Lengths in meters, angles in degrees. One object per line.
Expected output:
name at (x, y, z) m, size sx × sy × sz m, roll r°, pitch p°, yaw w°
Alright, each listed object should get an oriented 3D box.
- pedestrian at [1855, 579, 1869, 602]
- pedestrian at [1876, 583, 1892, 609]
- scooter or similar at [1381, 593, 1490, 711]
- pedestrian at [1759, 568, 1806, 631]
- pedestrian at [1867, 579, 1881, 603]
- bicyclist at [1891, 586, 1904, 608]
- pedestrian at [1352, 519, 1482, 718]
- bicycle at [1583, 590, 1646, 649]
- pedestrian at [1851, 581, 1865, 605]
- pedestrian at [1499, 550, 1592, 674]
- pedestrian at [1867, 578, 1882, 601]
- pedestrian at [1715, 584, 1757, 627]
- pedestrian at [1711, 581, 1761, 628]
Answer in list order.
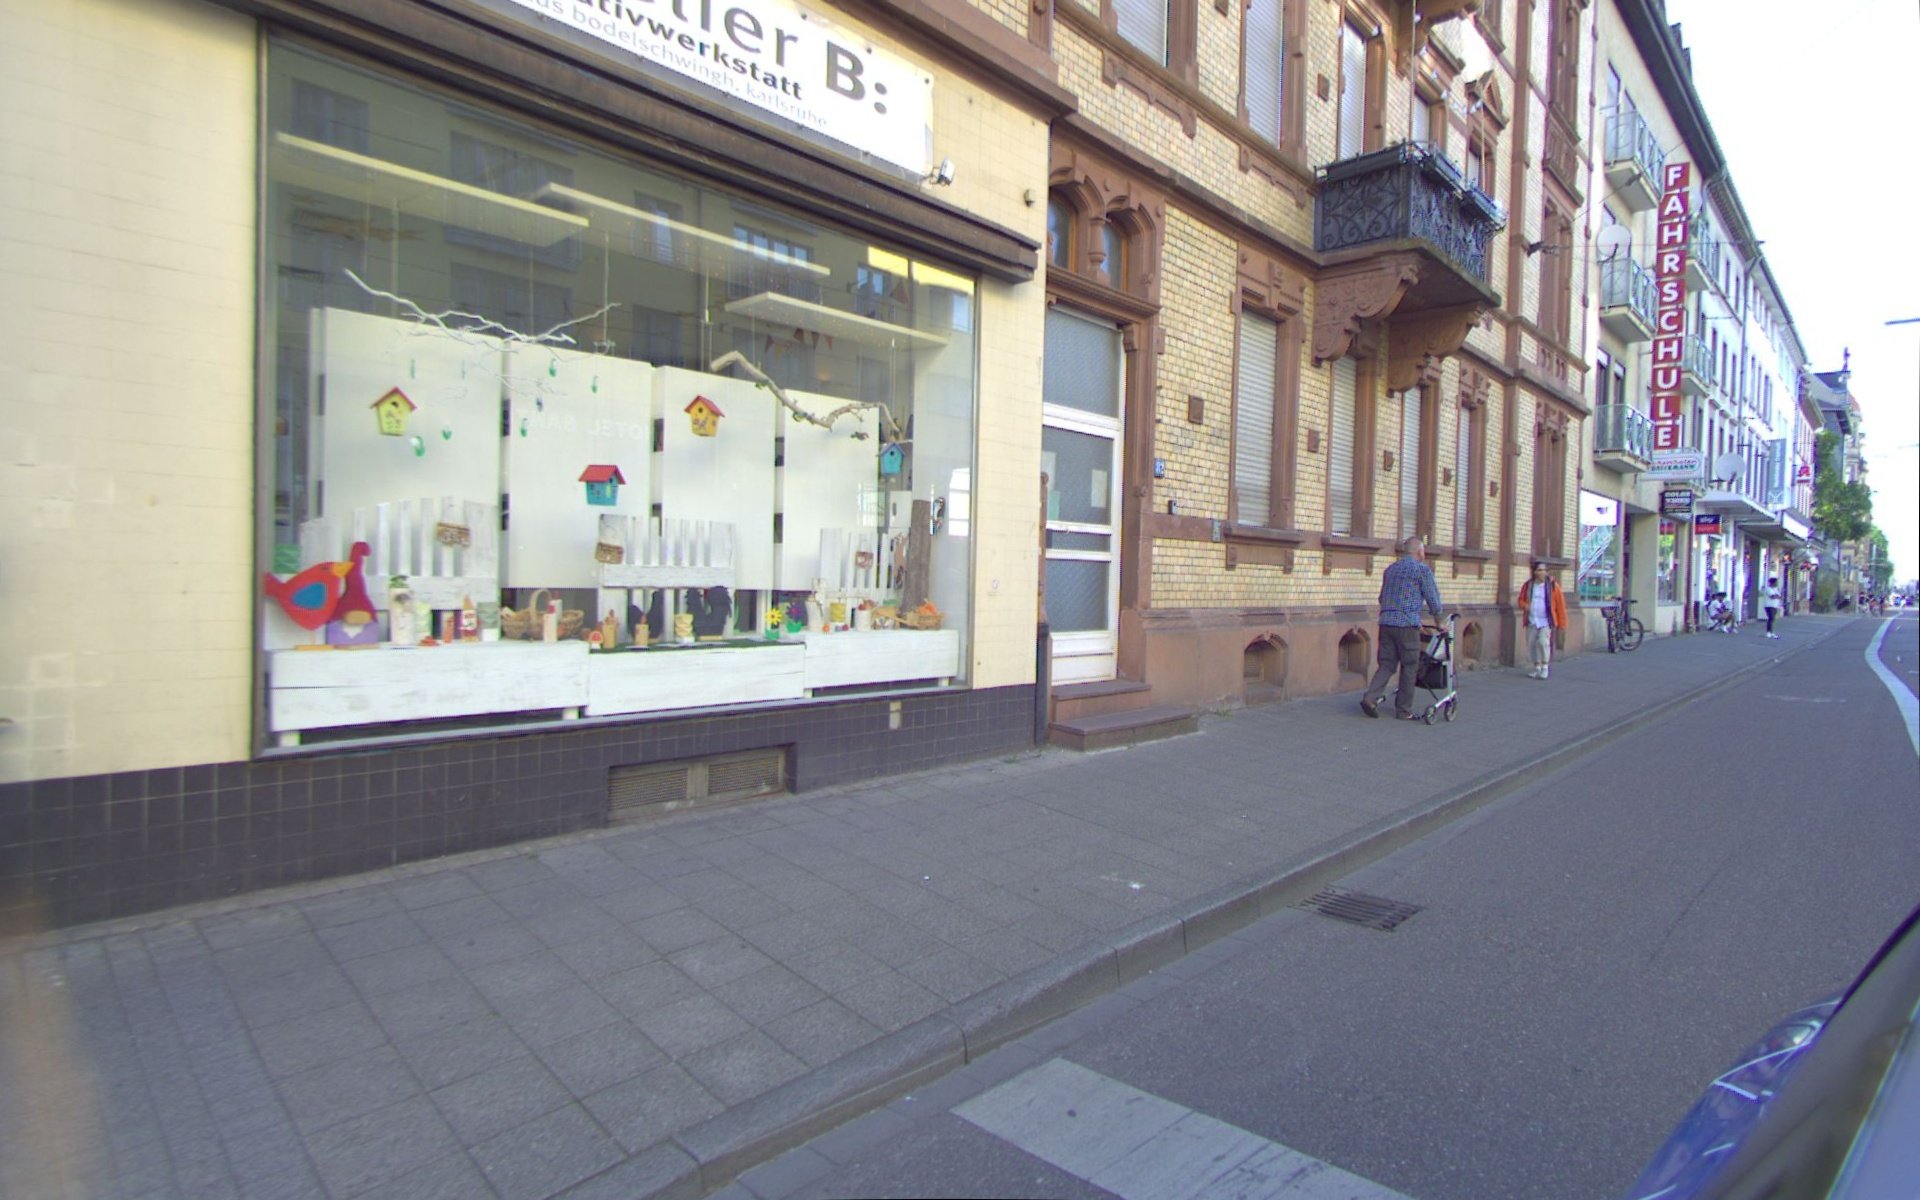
pedestrian at (65.710, -0.706, 73.755) m, size 0.647 × 1.598 × 0.673 m, roll 2°, pitch 2°, yaw 38°
pedestrian at (65.064, -0.298, 71.269) m, size 0.684 × 1.792 × 0.694 m, roll 0°, pitch 2°, yaw -41°
scooter or similar at (4.907, 0.512, 10.461) m, size 0.806 × 1.082 × 0.513 m, roll 9°, pitch 6°, yaw 44°
pedestrian at (25.316, -0.030, 31.160) m, size 0.665 × 1.832 × 0.709 m, roll 3°, pitch 6°, yaw -30°
pedestrian at (66.303, -0.645, 73.398) m, size 0.647 × 1.737 × 0.795 m, roll 2°, pitch 2°, yaw 37°
bicyclist at (70.679, -0.229, 76.290) m, size 0.675 × 1.634 × 0.824 m, roll 1°, pitch 1°, yaw 43°
pedestrian at (4.504, 0.153, 9.992) m, size 0.806 × 1.821 × 0.749 m, roll 8°, pitch 5°, yaw 44°
bicycle at (13.074, 0.368, 20.199) m, size 0.555 × 1.073 × 2.274 m, roll 6°, pitch 4°, yaw 44°
pedestrian at (66.520, -0.527, 74.991) m, size 0.684 × 1.792 × 0.650 m, roll 0°, pitch 2°, yaw -41°
pedestrian at (8.412, 0.159, 14.538) m, size 0.812 × 1.646 × 0.799 m, roll 2°, pitch 6°, yaw -45°
pedestrian at (74.776, -0.886, 82.749) m, size 0.806 × 1.822 × 0.749 m, roll 2°, pitch 2°, yaw 45°
pedestrian at (24.227, 0.158, 31.604) m, size 0.700 × 1.188 × 1.008 m, roll 8°, pitch 6°, yaw 25°
pedestrian at (23.607, 0.130, 30.805) m, size 0.817 × 1.270 × 0.706 m, roll 6°, pitch 5°, yaw 9°
